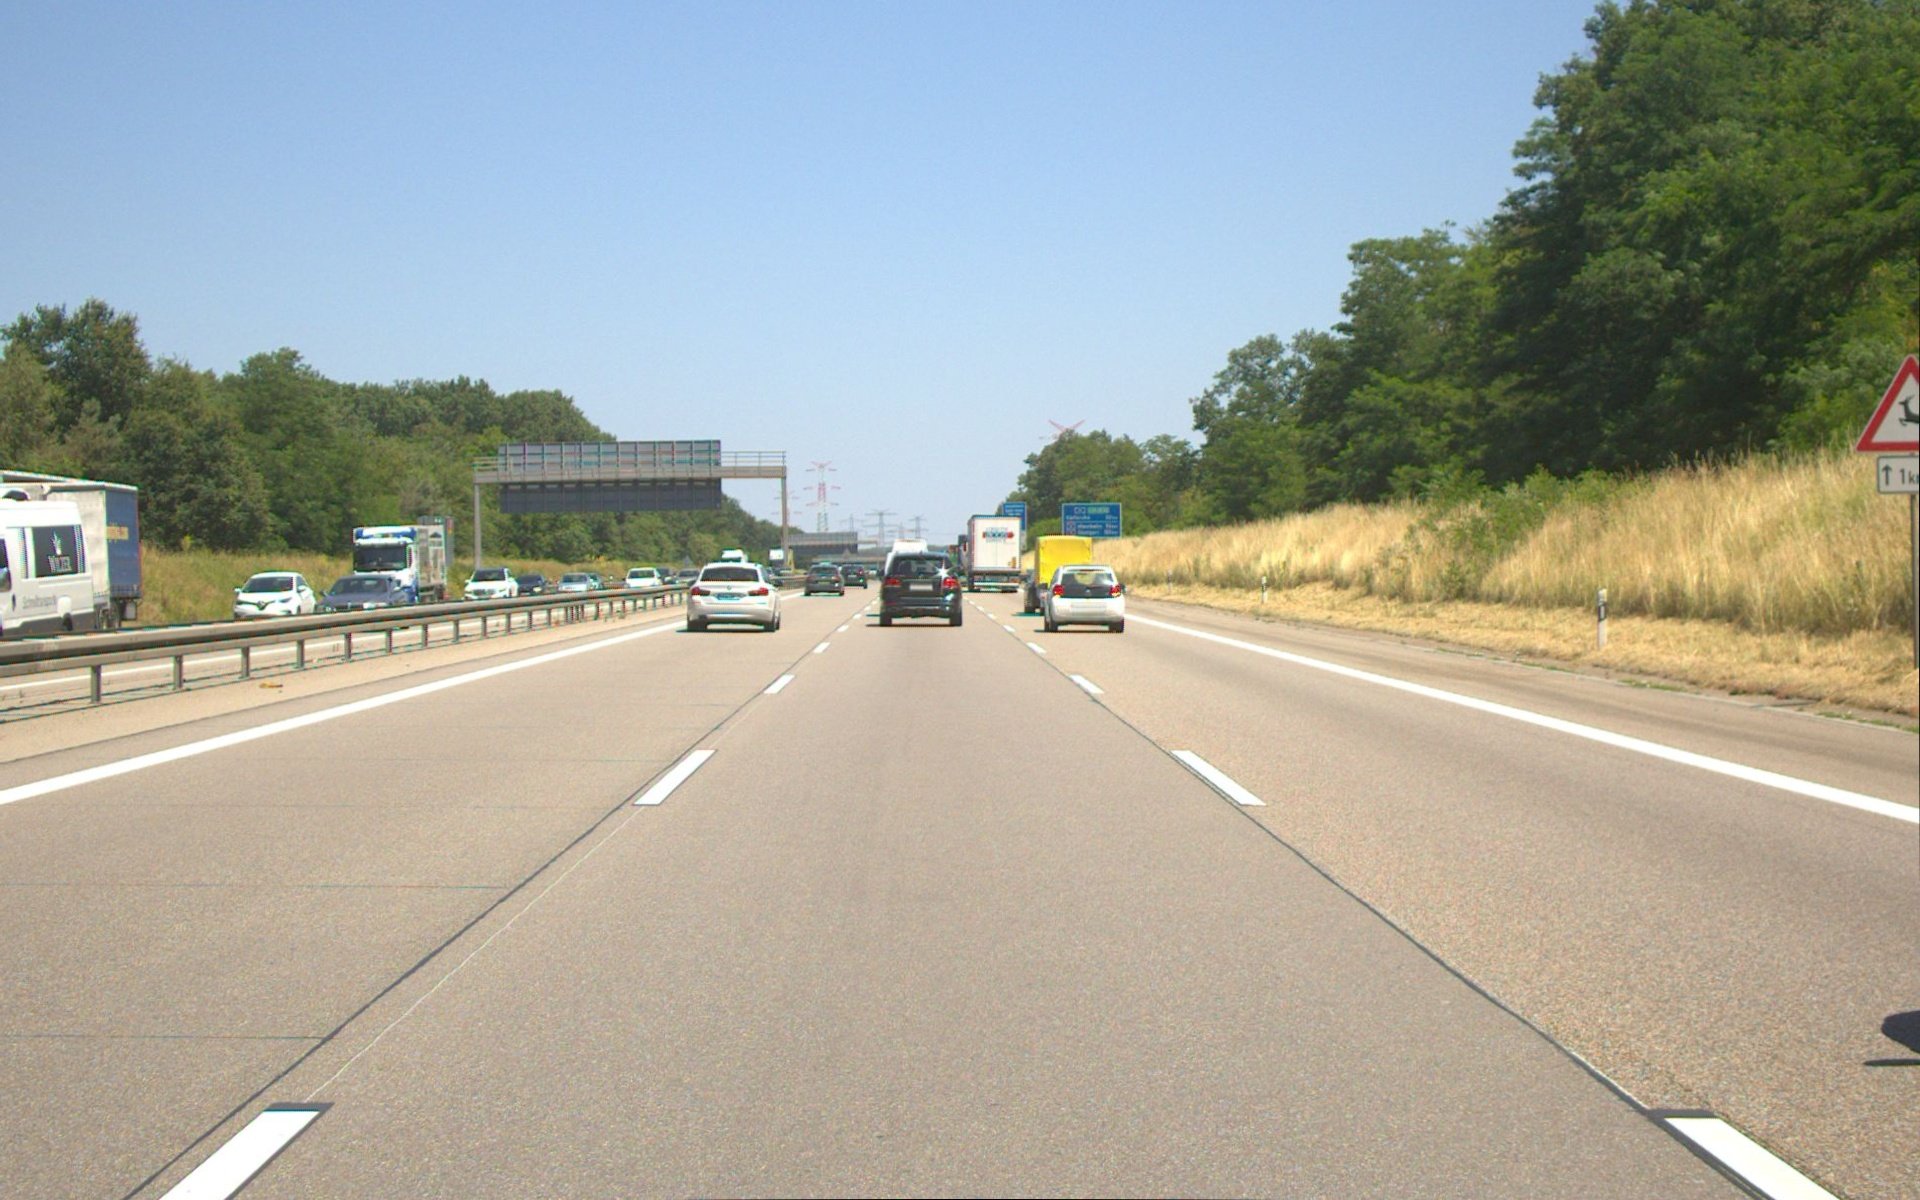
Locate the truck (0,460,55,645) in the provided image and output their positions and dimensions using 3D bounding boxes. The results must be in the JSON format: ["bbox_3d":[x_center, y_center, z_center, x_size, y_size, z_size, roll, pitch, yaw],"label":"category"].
[{"bbox_3d":[-21.952,-0.983,75.242,2.505,4.000,6.125,-3,1,0],"label":"truck"}]

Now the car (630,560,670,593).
[{"bbox_3d":[-14.470,-1.098,160.586,1.516,1.462,3.640,-3,1,-1],"label":"car"}]

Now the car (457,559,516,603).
[{"bbox_3d":[-19.201,-0.786,139.513,1.727,1.640,5.089,-3,1,-1],"label":"car"}]

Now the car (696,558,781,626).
[{"bbox_3d":[-4.707,-0.191,73.420,1.669,1.396,3.713,-1,1,-2],"label":"car"}]

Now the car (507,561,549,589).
[{"bbox_3d":[-23.824,-1.392,189.725,1.654,1.406,5.176,-3,1,-1],"label":"car"}]

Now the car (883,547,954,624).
[{"bbox_3d":[-0.971,-0.347,80.919,1.626,1.749,3.805,0,0,-1],"label":"car"}]

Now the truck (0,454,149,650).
[{"bbox_3d":[-18.307,-0.904,68.091,2.457,3.594,8.120,-3,1,0],"label":"truck"}]

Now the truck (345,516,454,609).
[{"bbox_3d":[-22.667,-1.531,139.611,2.732,3.506,10.442,-3,1,-1],"label":"truck"}]

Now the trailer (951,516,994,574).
[{"bbox_3d":[0.852,-3.777,239.173,2.682,3.824,12.010,1,0,-1],"label":"trailer"}]

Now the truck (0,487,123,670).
[{"bbox_3d":[-14.741,-0.288,51.989,2.083,2.614,8.031,-3,1,0],"label":"truck"}]

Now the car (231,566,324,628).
[{"bbox_3d":[-18.387,-0.102,92.818,1.604,1.554,4.469,-3,1,-1],"label":"car"}]

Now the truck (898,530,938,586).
[{"bbox_3d":[-2.252,-2.175,181.504,2.060,2.904,7.003,0,0,-1],"label":"truck"}]

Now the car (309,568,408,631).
[{"bbox_3d":[-14.425,-0.037,82.628,1.604,1.394,4.545,-3,1,-1],"label":"car"}]

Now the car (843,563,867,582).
[{"bbox_3d":[-6.359,-1.688,208.692,1.405,1.128,3.358,0,0,-1],"label":"car"}]

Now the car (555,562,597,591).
[{"bbox_3d":[-20.113,-1.222,180.296,1.761,1.403,4.353,-3,1,-1],"label":"car"}]

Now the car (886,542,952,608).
[{"bbox_3d":[-1.172,-0.709,97.855,1.814,1.821,5.111,0,0,-1],"label":"car"}]

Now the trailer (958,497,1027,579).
[{"bbox_3d":[1.701,-3.294,186.440,3.286,4.205,13.565,1,0,-1],"label":"trailer"}]

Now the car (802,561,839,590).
[{"bbox_3d":[-6.420,-1.126,158.806,1.607,1.296,3.674,0,0,-1],"label":"car"}]

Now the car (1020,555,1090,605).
[{"bbox_3d":[2.830,-0.607,103.274,1.821,1.451,4.789,0,0,-2],"label":"car"}]

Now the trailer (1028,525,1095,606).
[{"bbox_3d":[2.902,-0.981,98.950,1.703,2.282,3.840,0,0,-2],"label":"trailer"}]

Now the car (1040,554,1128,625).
[{"bbox_3d":[2.684,-0.242,75.054,1.708,1.490,4.024,0,0,-1],"label":"car"}]
